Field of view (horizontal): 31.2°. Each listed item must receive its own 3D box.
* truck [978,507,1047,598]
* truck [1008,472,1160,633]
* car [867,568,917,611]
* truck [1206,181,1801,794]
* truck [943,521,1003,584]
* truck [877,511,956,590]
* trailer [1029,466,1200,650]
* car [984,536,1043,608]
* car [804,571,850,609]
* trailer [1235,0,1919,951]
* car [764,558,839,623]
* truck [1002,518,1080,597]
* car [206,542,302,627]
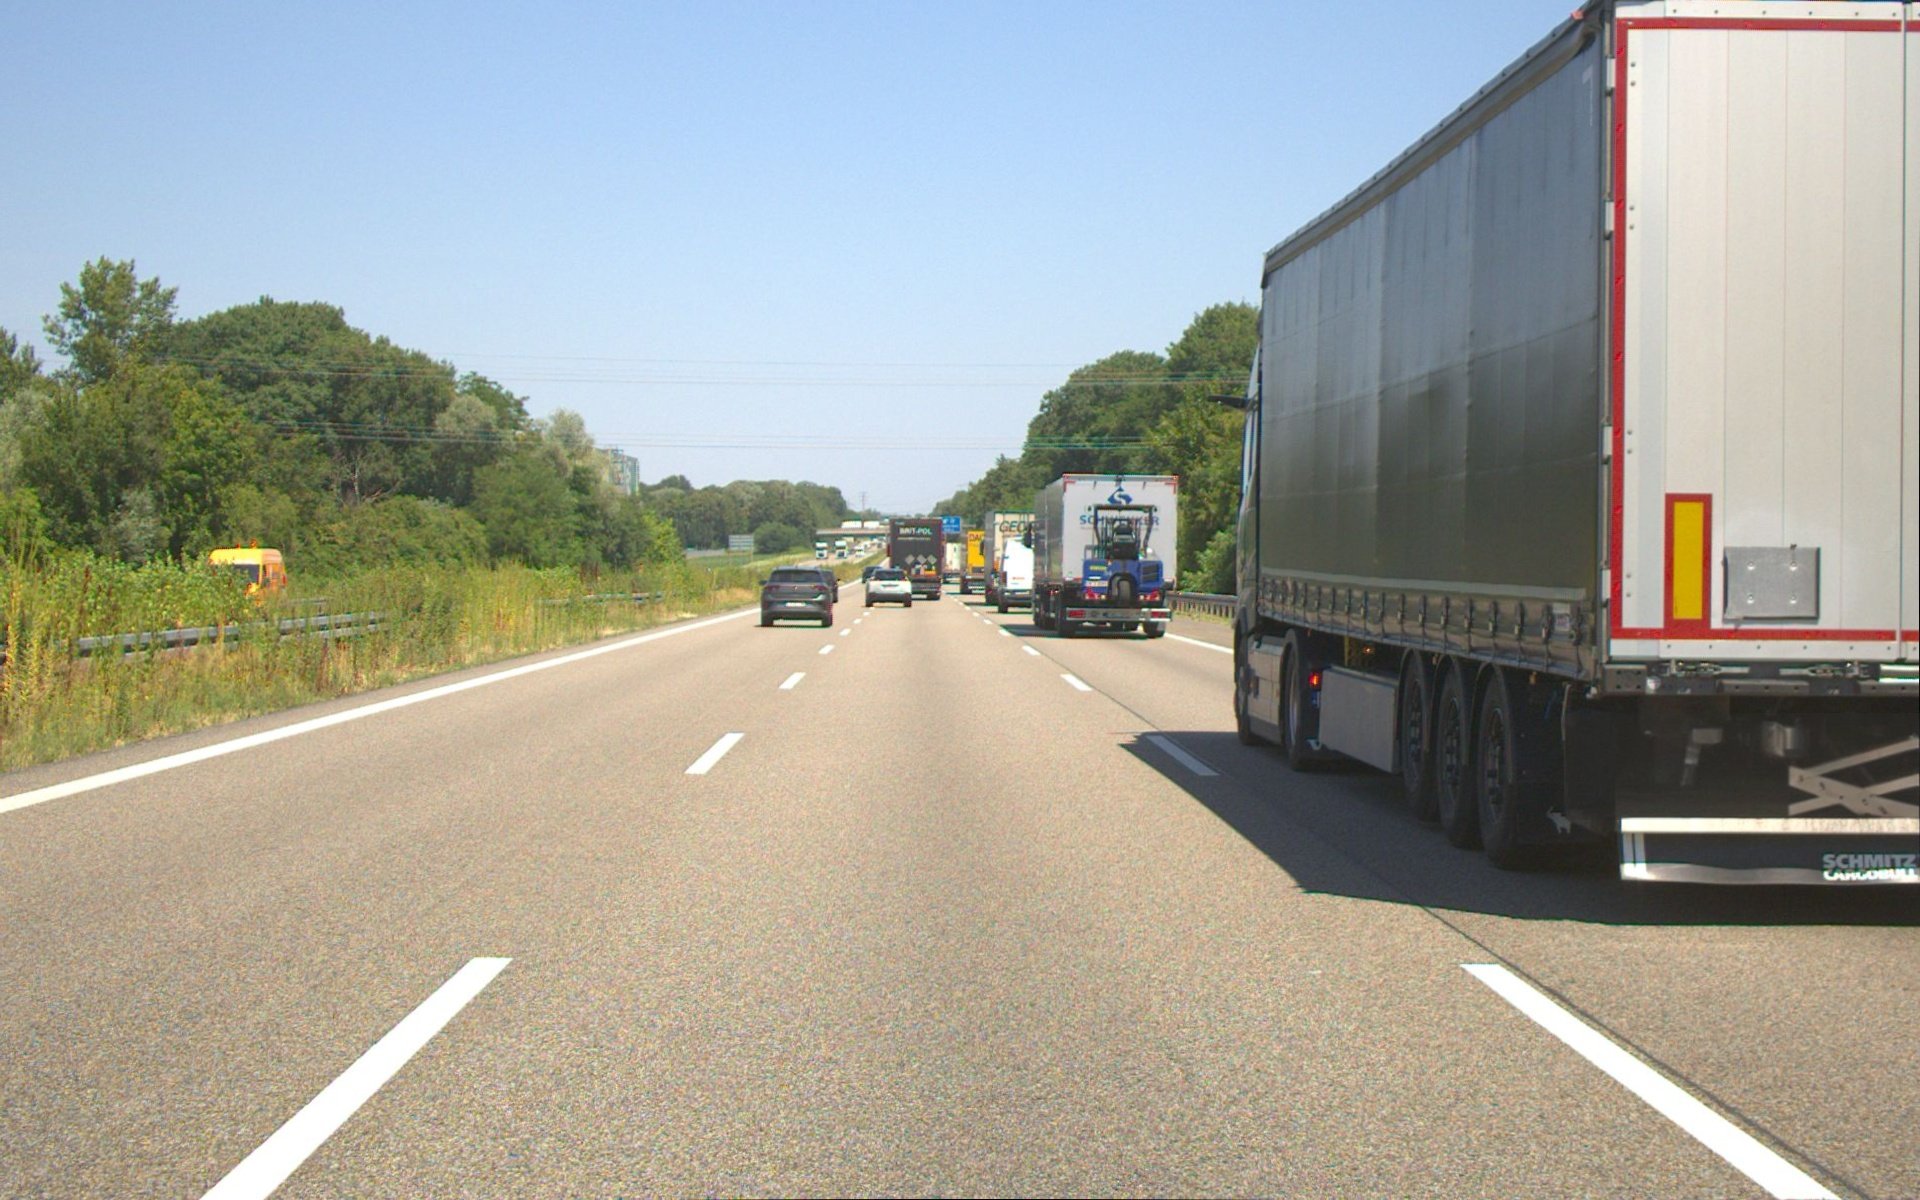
[{"bbox_3d":[2.216,-2.065,146.820,2.792,3.713,7.108,1,1,1],"label":"truck"},{"bbox_3d":[3.102,-1.297,89.092,3.057,3.866,10.035,1,2,-3],"label":"truck"},{"bbox_3d":[-2.693,-0.432,136.837,1.900,1.525,4.084,1,2,-1],"label":"car"},{"bbox_3d":[4.009,-0.786,27.228,3.464,4.163,6.844,1,0,-1],"label":"truck"},{"bbox_3d":[0.807,-2.925,210.539,3.489,3.713,7.108,1,1,1],"label":"truck"},{"bbox_3d":[-2.084,-2.478,169.066,3.667,3.713,7.108,1,1,1],"label":"truck"},{"bbox_3d":[3.438,-1.038,79.188,3.122,3.913,9.938,1,1,-2],"label":"trailer"},{"bbox_3d":[1.861,-1.006,120.939,1.907,2.417,4.286,1,2,-1],"label":"car"},{"bbox_3d":[-5.837,-0.436,151.342,1.900,1.525,4.084,1,2,-1],"label":"car"},{"bbox_3d":[4.040,-0.717,20.975,3.434,4.167,13.633,1,1,0],"label":"trailer"},{"bbox_3d":[-4.071,-0.271,88.755,1.759,1.525,4.286,1,2,-1],"label":"car"},{"bbox_3d":[3.948,-2.148,169.387,3.667,3.713,7.108,1,1,1],"label":"truck"},{"bbox_3d":[-22.481,-0.523,109.688,2.102,2.548,6.187,-1,2,-3],"label":"car"}]
